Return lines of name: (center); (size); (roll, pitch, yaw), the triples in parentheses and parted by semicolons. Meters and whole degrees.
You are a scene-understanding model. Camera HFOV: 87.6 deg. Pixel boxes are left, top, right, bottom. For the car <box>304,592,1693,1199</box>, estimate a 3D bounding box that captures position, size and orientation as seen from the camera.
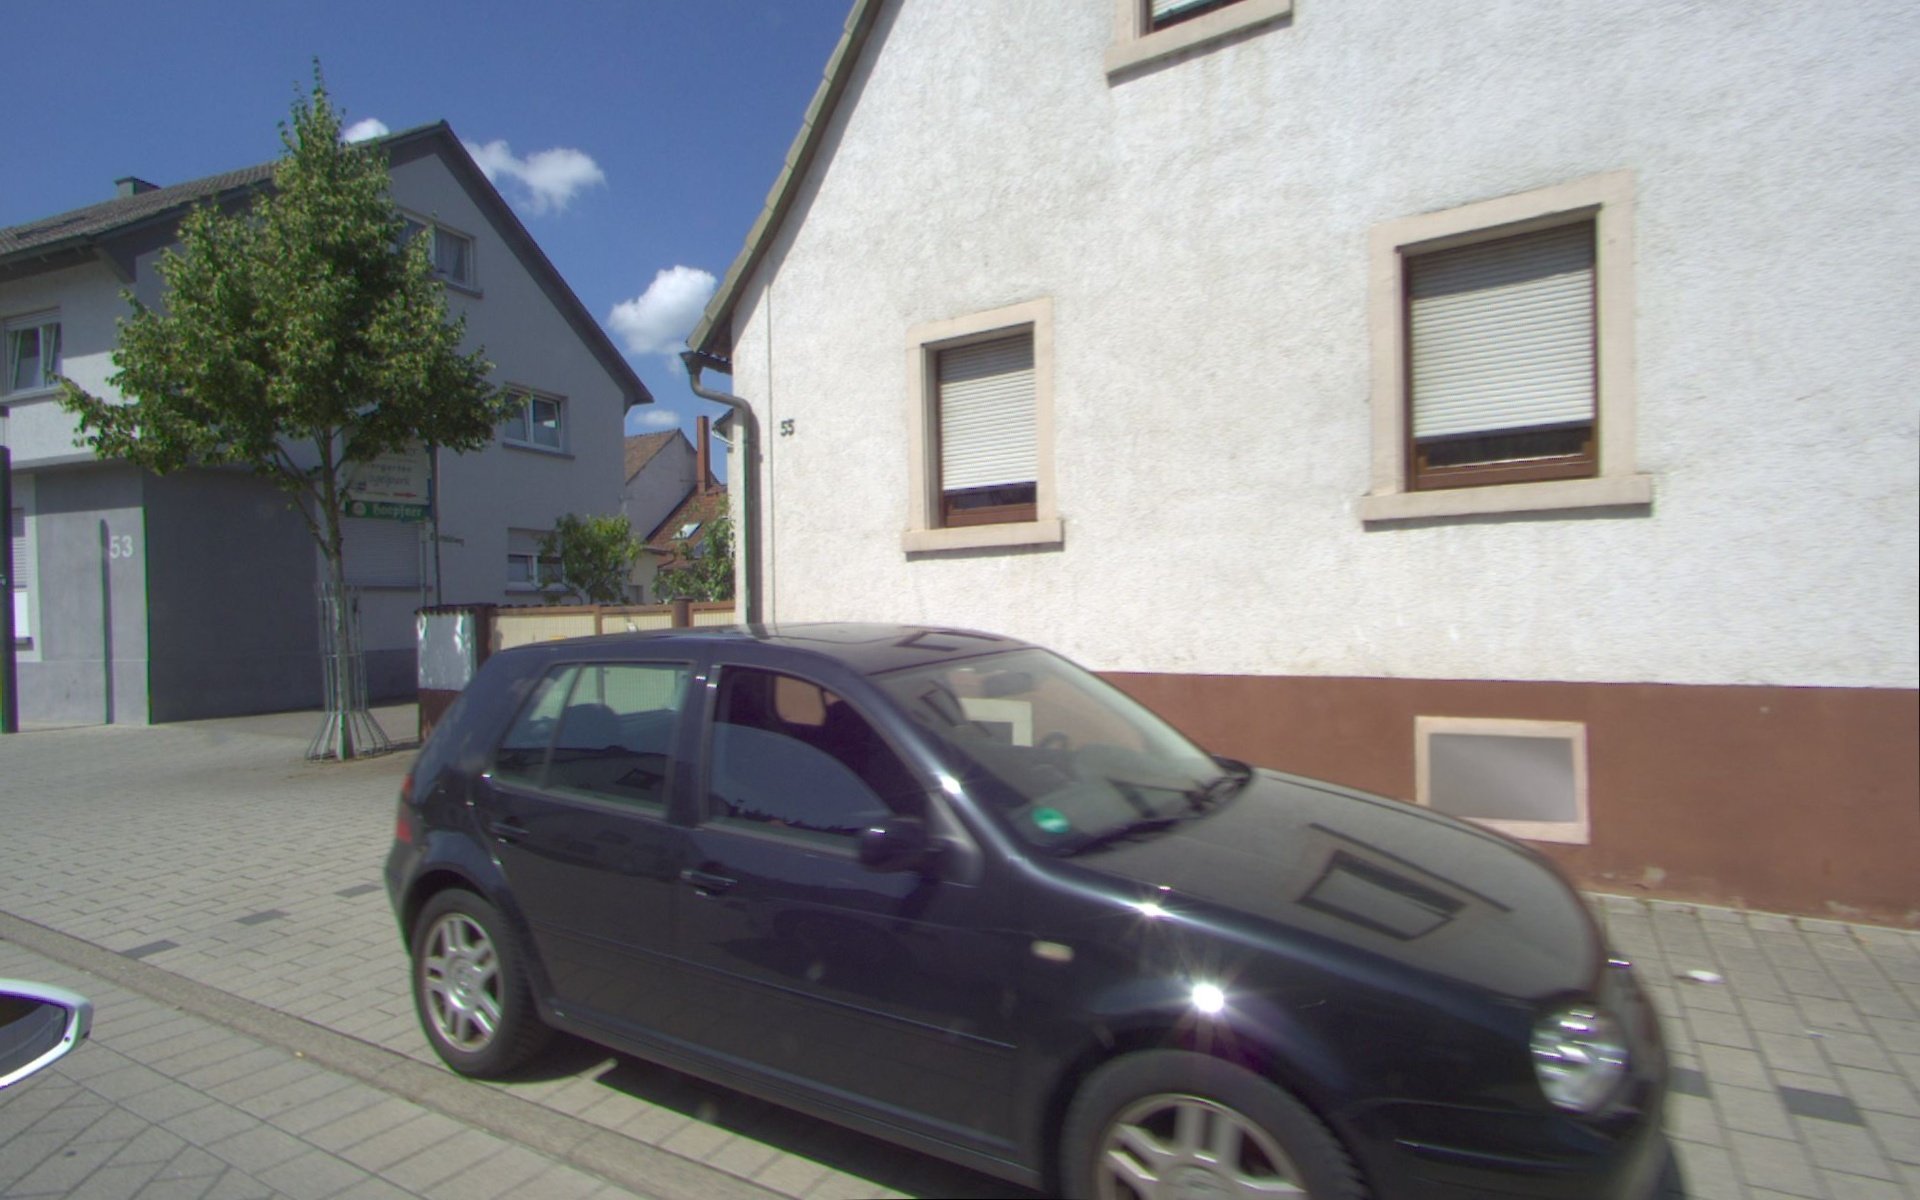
car: (-0.180, 0.758, 3.323); (4.060, 1.458, 1.756); (-1, 1, 32)
